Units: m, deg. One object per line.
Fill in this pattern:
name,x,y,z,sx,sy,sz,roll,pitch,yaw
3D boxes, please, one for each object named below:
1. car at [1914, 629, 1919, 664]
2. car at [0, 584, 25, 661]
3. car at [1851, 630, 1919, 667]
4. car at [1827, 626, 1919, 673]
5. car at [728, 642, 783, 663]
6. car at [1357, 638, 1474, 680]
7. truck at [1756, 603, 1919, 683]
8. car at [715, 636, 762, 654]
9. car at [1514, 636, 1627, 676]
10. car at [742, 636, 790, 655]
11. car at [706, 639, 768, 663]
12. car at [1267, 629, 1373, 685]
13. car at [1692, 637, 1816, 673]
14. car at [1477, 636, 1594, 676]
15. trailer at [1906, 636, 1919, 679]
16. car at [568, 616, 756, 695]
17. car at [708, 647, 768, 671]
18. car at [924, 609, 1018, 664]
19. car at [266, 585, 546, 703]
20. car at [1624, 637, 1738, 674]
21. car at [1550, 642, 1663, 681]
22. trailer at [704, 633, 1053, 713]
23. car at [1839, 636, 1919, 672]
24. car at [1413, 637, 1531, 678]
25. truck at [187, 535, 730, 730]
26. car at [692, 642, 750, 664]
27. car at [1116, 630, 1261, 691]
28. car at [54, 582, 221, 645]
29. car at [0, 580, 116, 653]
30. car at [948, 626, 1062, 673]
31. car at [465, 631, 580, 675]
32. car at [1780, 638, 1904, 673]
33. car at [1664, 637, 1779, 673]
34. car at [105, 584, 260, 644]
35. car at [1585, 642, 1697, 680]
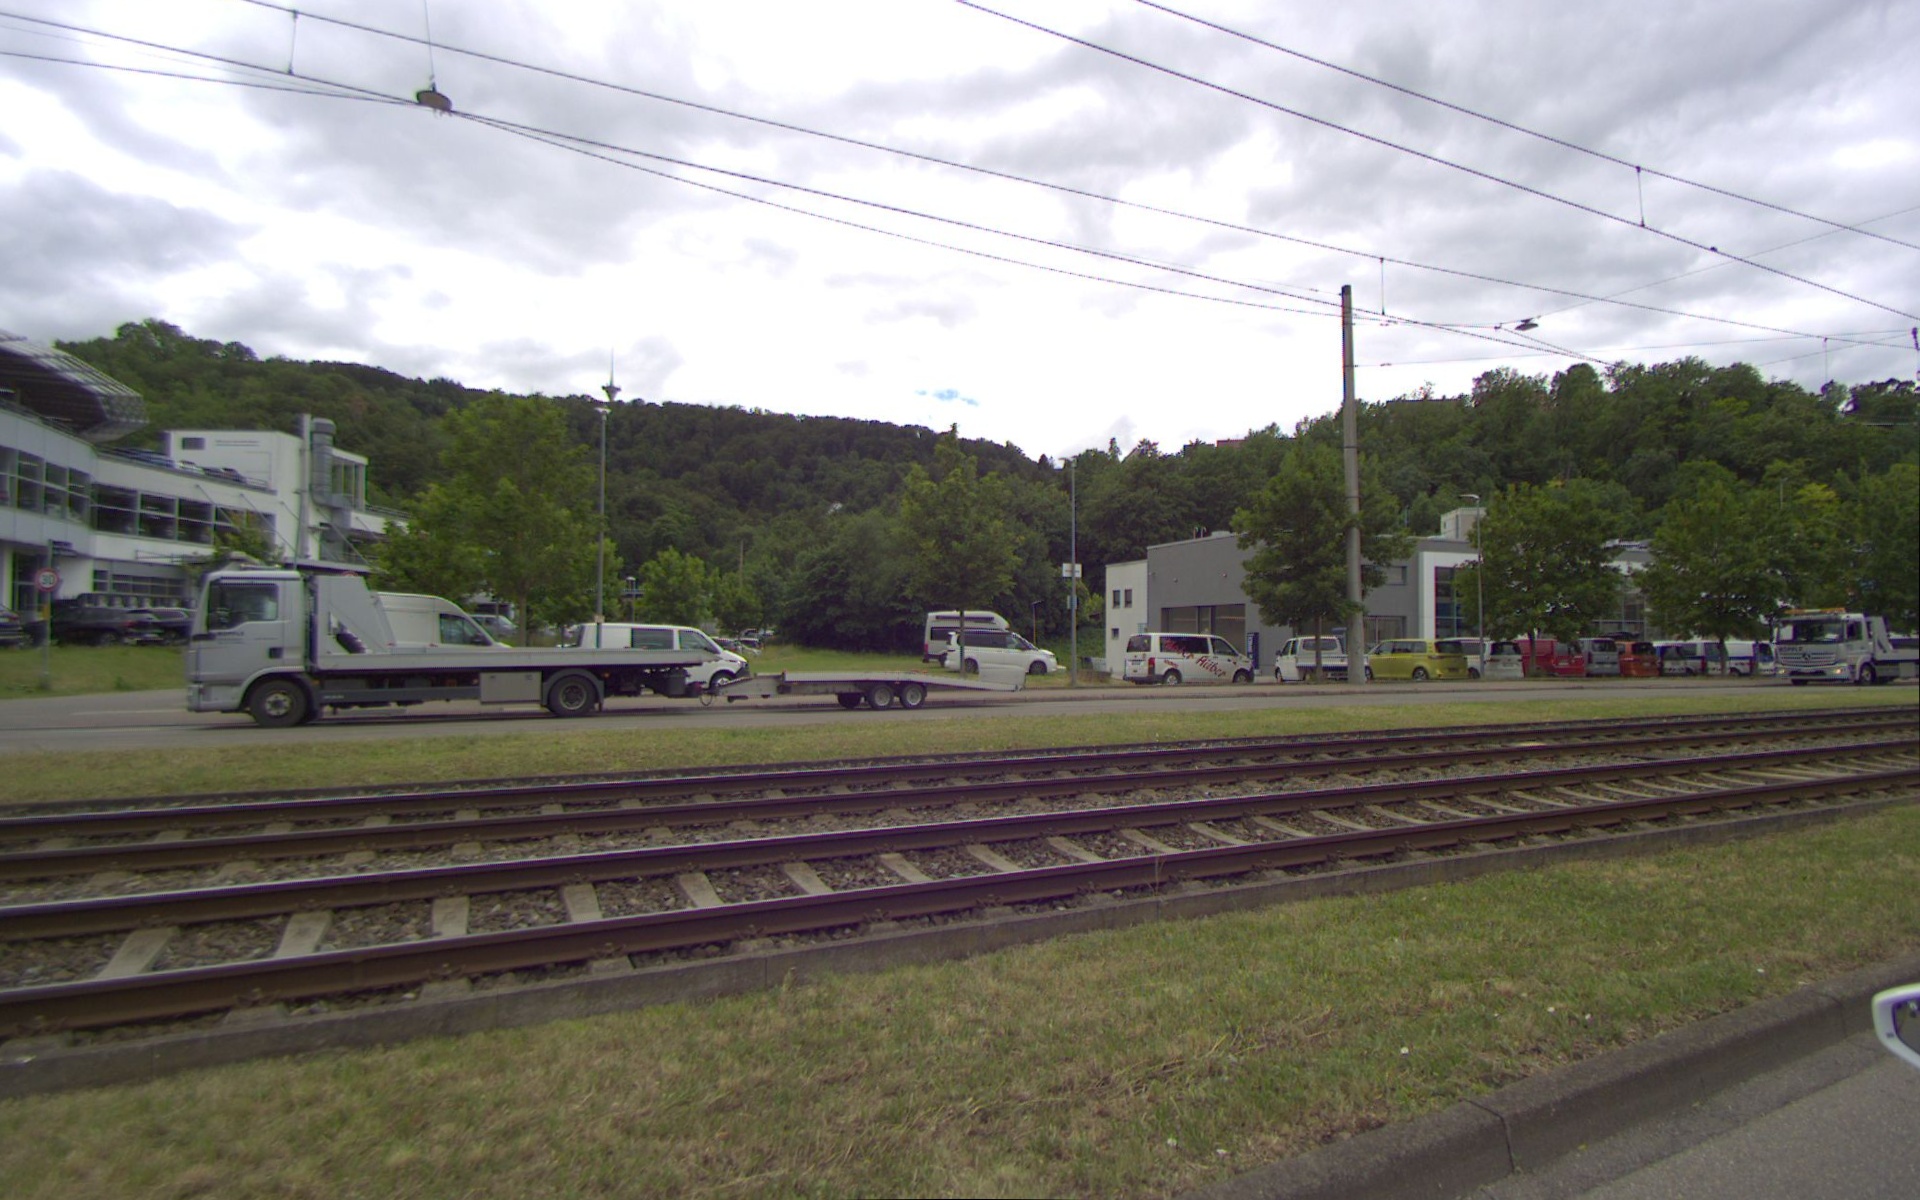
car,57.051,2.636,56.595,1.975,2.037,4.358,1,-2,-22
car,-27.551,0.575,26.461,3.920,2.040,2.001,0,-2,1
car,68.843,3.508,73.181,5.869,2.636,1.993,-1,-2,43
car,48.188,2.523,52.097,2.091,2.342,4.495,1,-2,-17
car,-14.561,3.704,71.357,3.657,1.455,1.670,1,-2,-18
car,18.806,2.401,41.687,2.119,1.639,4.336,1,-2,-16
truck,34.498,1.680,37.910,9.083,2.777,2.752,1,-4,-22
car,-18.517,3.778,84.028,3.645,1.455,1.676,0,-2,-6
car,27.141,2.439,44.801,2.015,1.686,3.987,1,-2,-16
car,-15.684,3.690,81.416,3.645,1.455,1.676,0,-2,-6
car,-13.952,3.161,62.835,3.655,1.455,1.671,1,-2,-16
car,14.003,2.202,39.470,2.101,2.034,5.716,0,-2,0
car,38.244,2.619,48.530,1.971,1.639,4.365,1,-2,-16
car,24.806,2.378,43.472,2.029,1.639,4.178,1,-2,-16
trailer,41.907,2.336,40.749,6.844,1.720,2.380,1,-4,-21
car,-8.270,1.510,27.919,4.743,2.040,1.988,1,-2,-26
car,-14.321,3.784,64.696,3.655,1.455,1.671,1,-2,-16
car,0.563,1.870,52.045,4.764,2.741,2.001,1,-2,1
car,-13.475,1.060,24.673,5.808,2.595,1.979,2,-2,-37
car,33.632,2.553,46.997,1.968,1.639,3.987,1,-2,-16
car,29.226,2.751,45.551,1.968,1.639,3.987,1,-2,-16
trailer,-1.748,1.550,21.955,7.127,1.514,2.751,1,-4,-25
car,50.228,2.854,53.801,1.972,1.869,4.364,1,-2,-17
car,21.729,2.410,42.820,2.085,1.639,4.345,1,-2,-16
truck,-8.736,0.656,18.632,8.338,3.020,2.857,1,-4,-25
car,-15.894,3.517,66.698,3.655,1.455,1.671,1,-2,-16
car,8.093,2.110,35.480,4.793,2.040,1.989,2,-2,-24
car,-27.399,0.471,33.563,3.920,2.040,2.001,0,-2,1
car,-27.655,0.496,29.548,3.920,2.040,2.001,0,-2,1
car,1.981,2.228,45.481,5.033,2.040,2.000,1,-2,-2
car,-16.644,1.994,38.316,3.644,1.639,1.676,0,-2,-4
car,45.403,2.829,51.818,2.001,1.711,4.359,1,-2,-21
car,36.205,2.583,47.893,1.968,1.639,3.987,1,-2,-16
car,-27.550,0.531,35.687,3.920,2.040,2.001,1,-2,1
car,31.386,2.796,46.426,1.968,1.639,3.987,1,-2,-16
